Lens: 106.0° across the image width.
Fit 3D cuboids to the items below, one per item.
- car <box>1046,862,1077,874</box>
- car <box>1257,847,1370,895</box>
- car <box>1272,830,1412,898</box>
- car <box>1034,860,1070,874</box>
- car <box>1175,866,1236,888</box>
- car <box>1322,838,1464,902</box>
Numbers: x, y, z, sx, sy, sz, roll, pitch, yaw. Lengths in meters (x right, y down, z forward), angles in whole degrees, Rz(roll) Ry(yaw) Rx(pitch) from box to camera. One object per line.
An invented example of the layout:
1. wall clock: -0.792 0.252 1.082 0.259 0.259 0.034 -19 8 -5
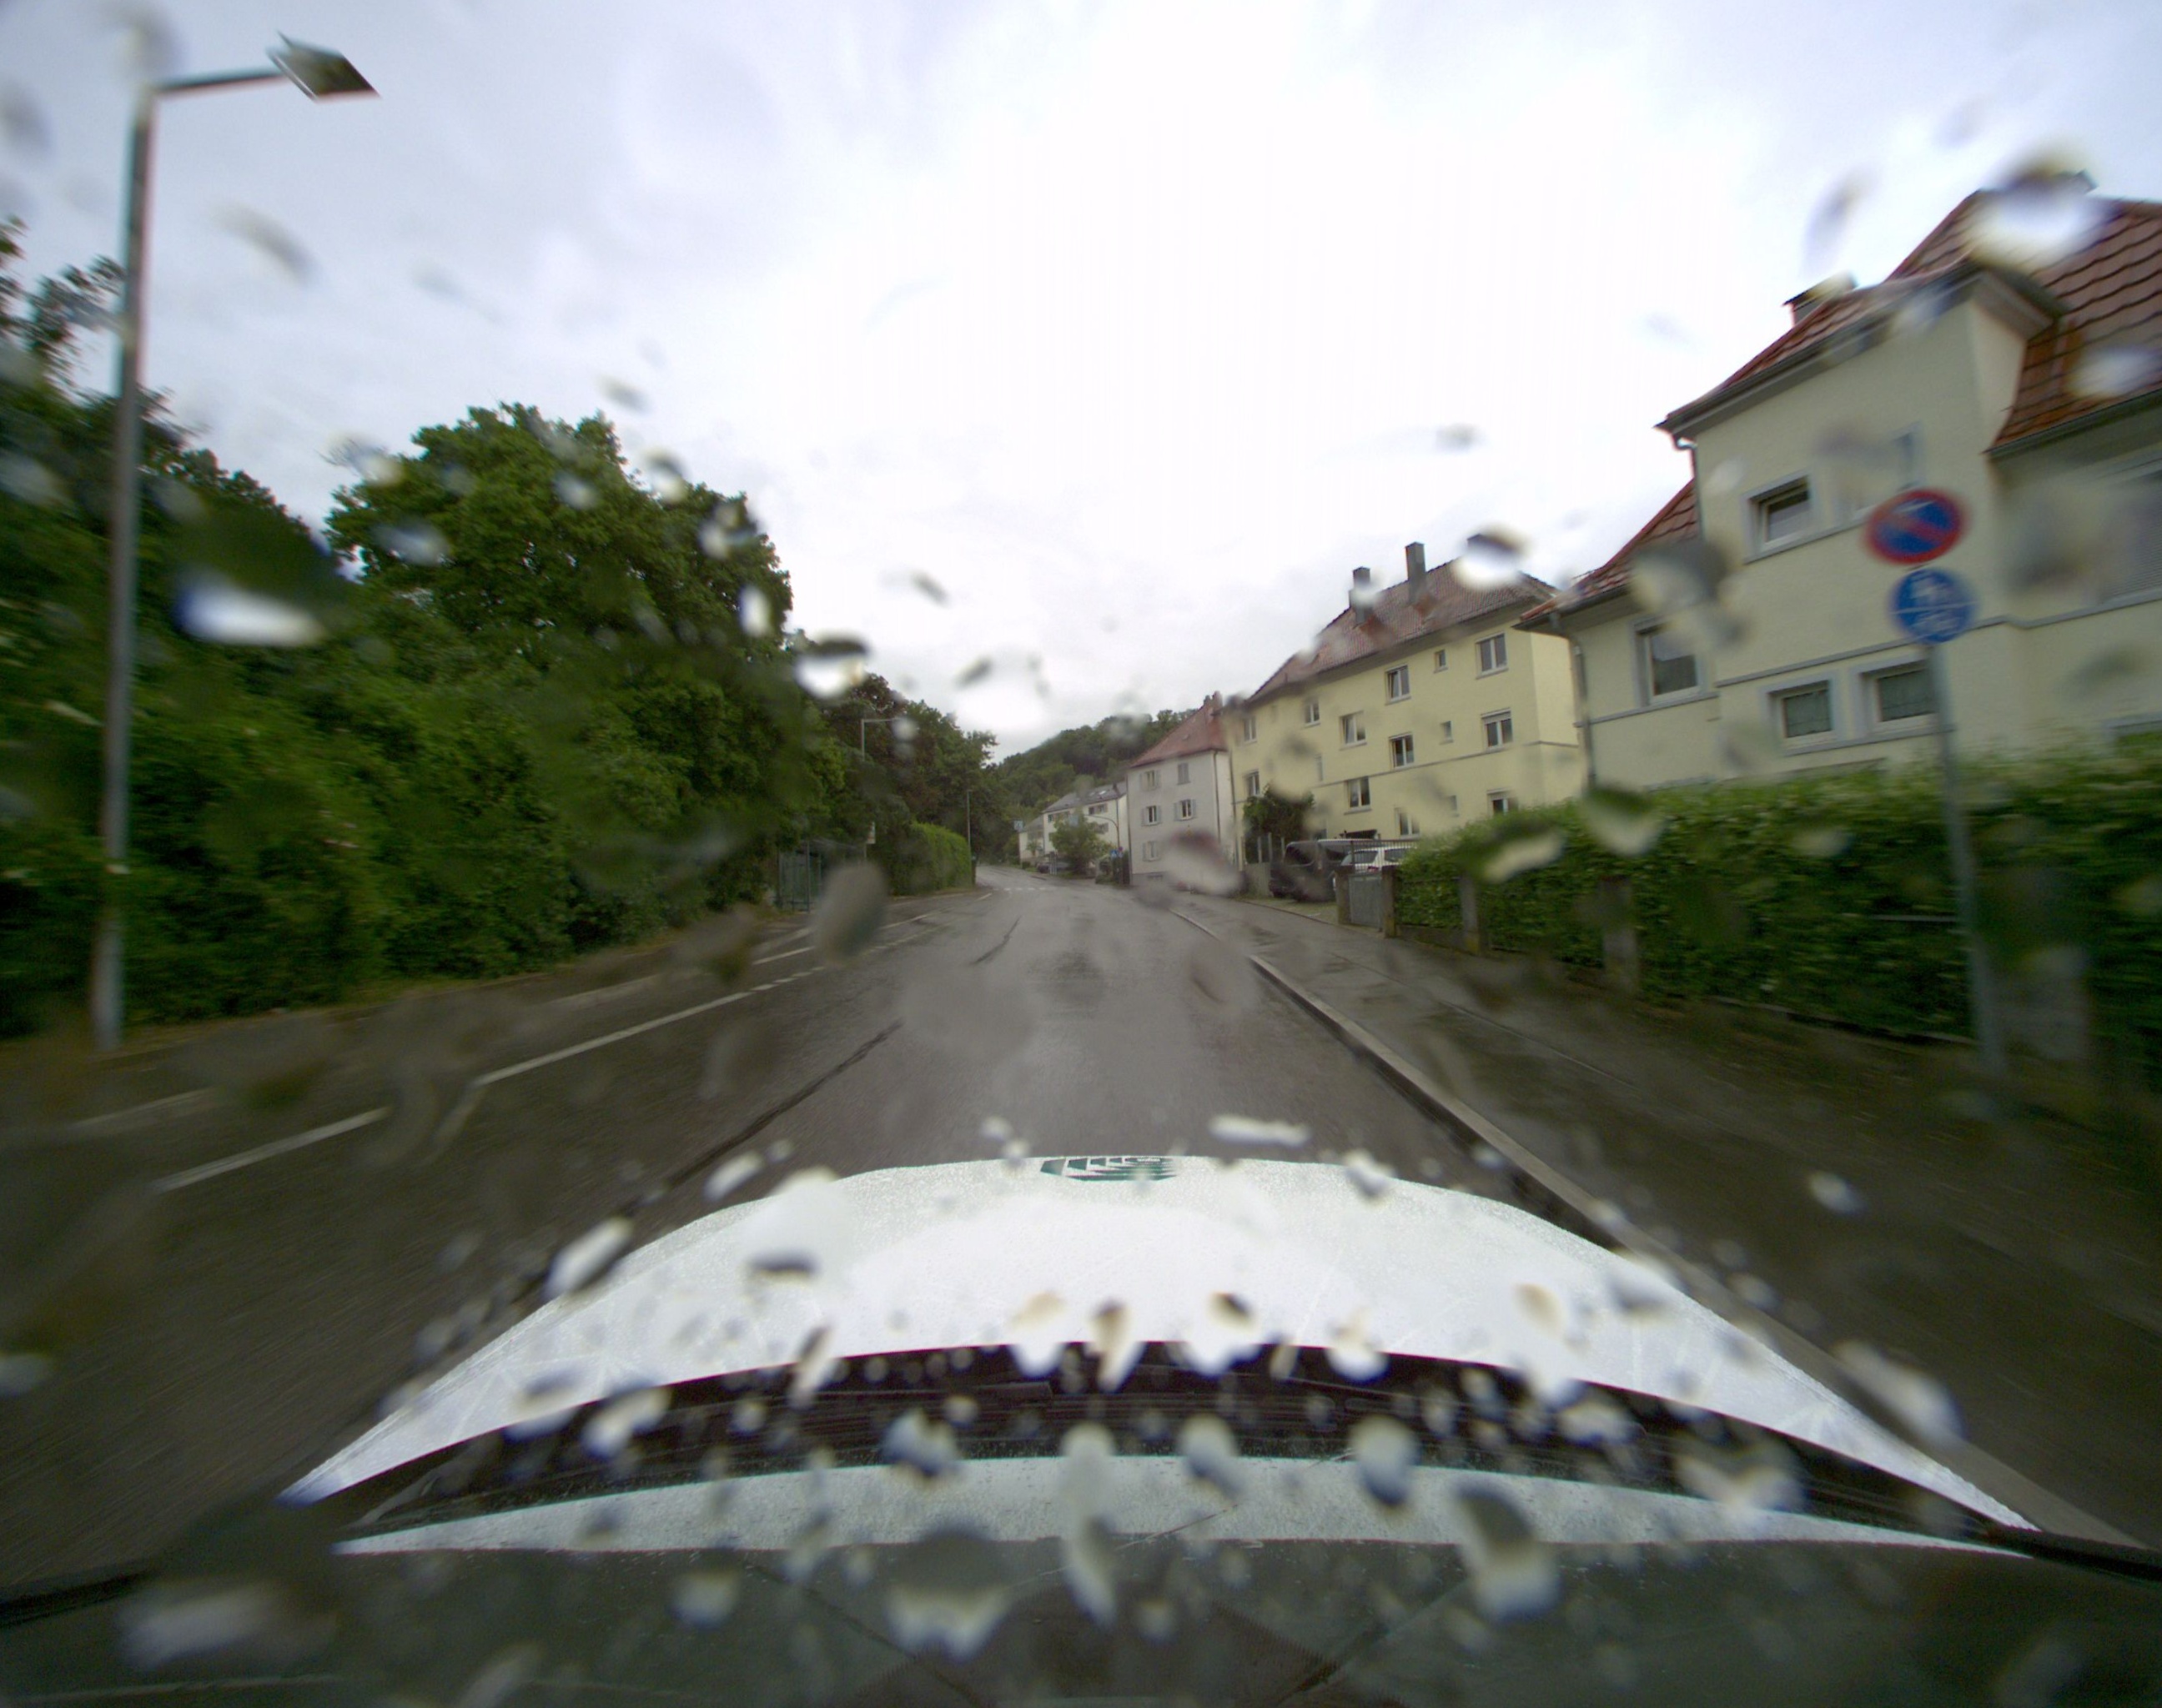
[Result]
1. car: -2.590 1.844 107.486 3.750 1.458 1.716 -2 1 -15
2. car: 7.901 0.584 27.633 3.537 1.339 1.671 -3 -3 -31
3. car: 7.987 0.298 24.851 3.947 1.782 1.754 -3 -3 -30
4. car: -4.024 1.722 112.430 4.541 1.660 1.844 -2 1 -20
5. car: 8.417 1.538 55.103 4.056 1.408 1.728 0 -1 8
6. car: 8.650 0.441 22.578 3.534 1.475 1.672 -3 -2 -28
